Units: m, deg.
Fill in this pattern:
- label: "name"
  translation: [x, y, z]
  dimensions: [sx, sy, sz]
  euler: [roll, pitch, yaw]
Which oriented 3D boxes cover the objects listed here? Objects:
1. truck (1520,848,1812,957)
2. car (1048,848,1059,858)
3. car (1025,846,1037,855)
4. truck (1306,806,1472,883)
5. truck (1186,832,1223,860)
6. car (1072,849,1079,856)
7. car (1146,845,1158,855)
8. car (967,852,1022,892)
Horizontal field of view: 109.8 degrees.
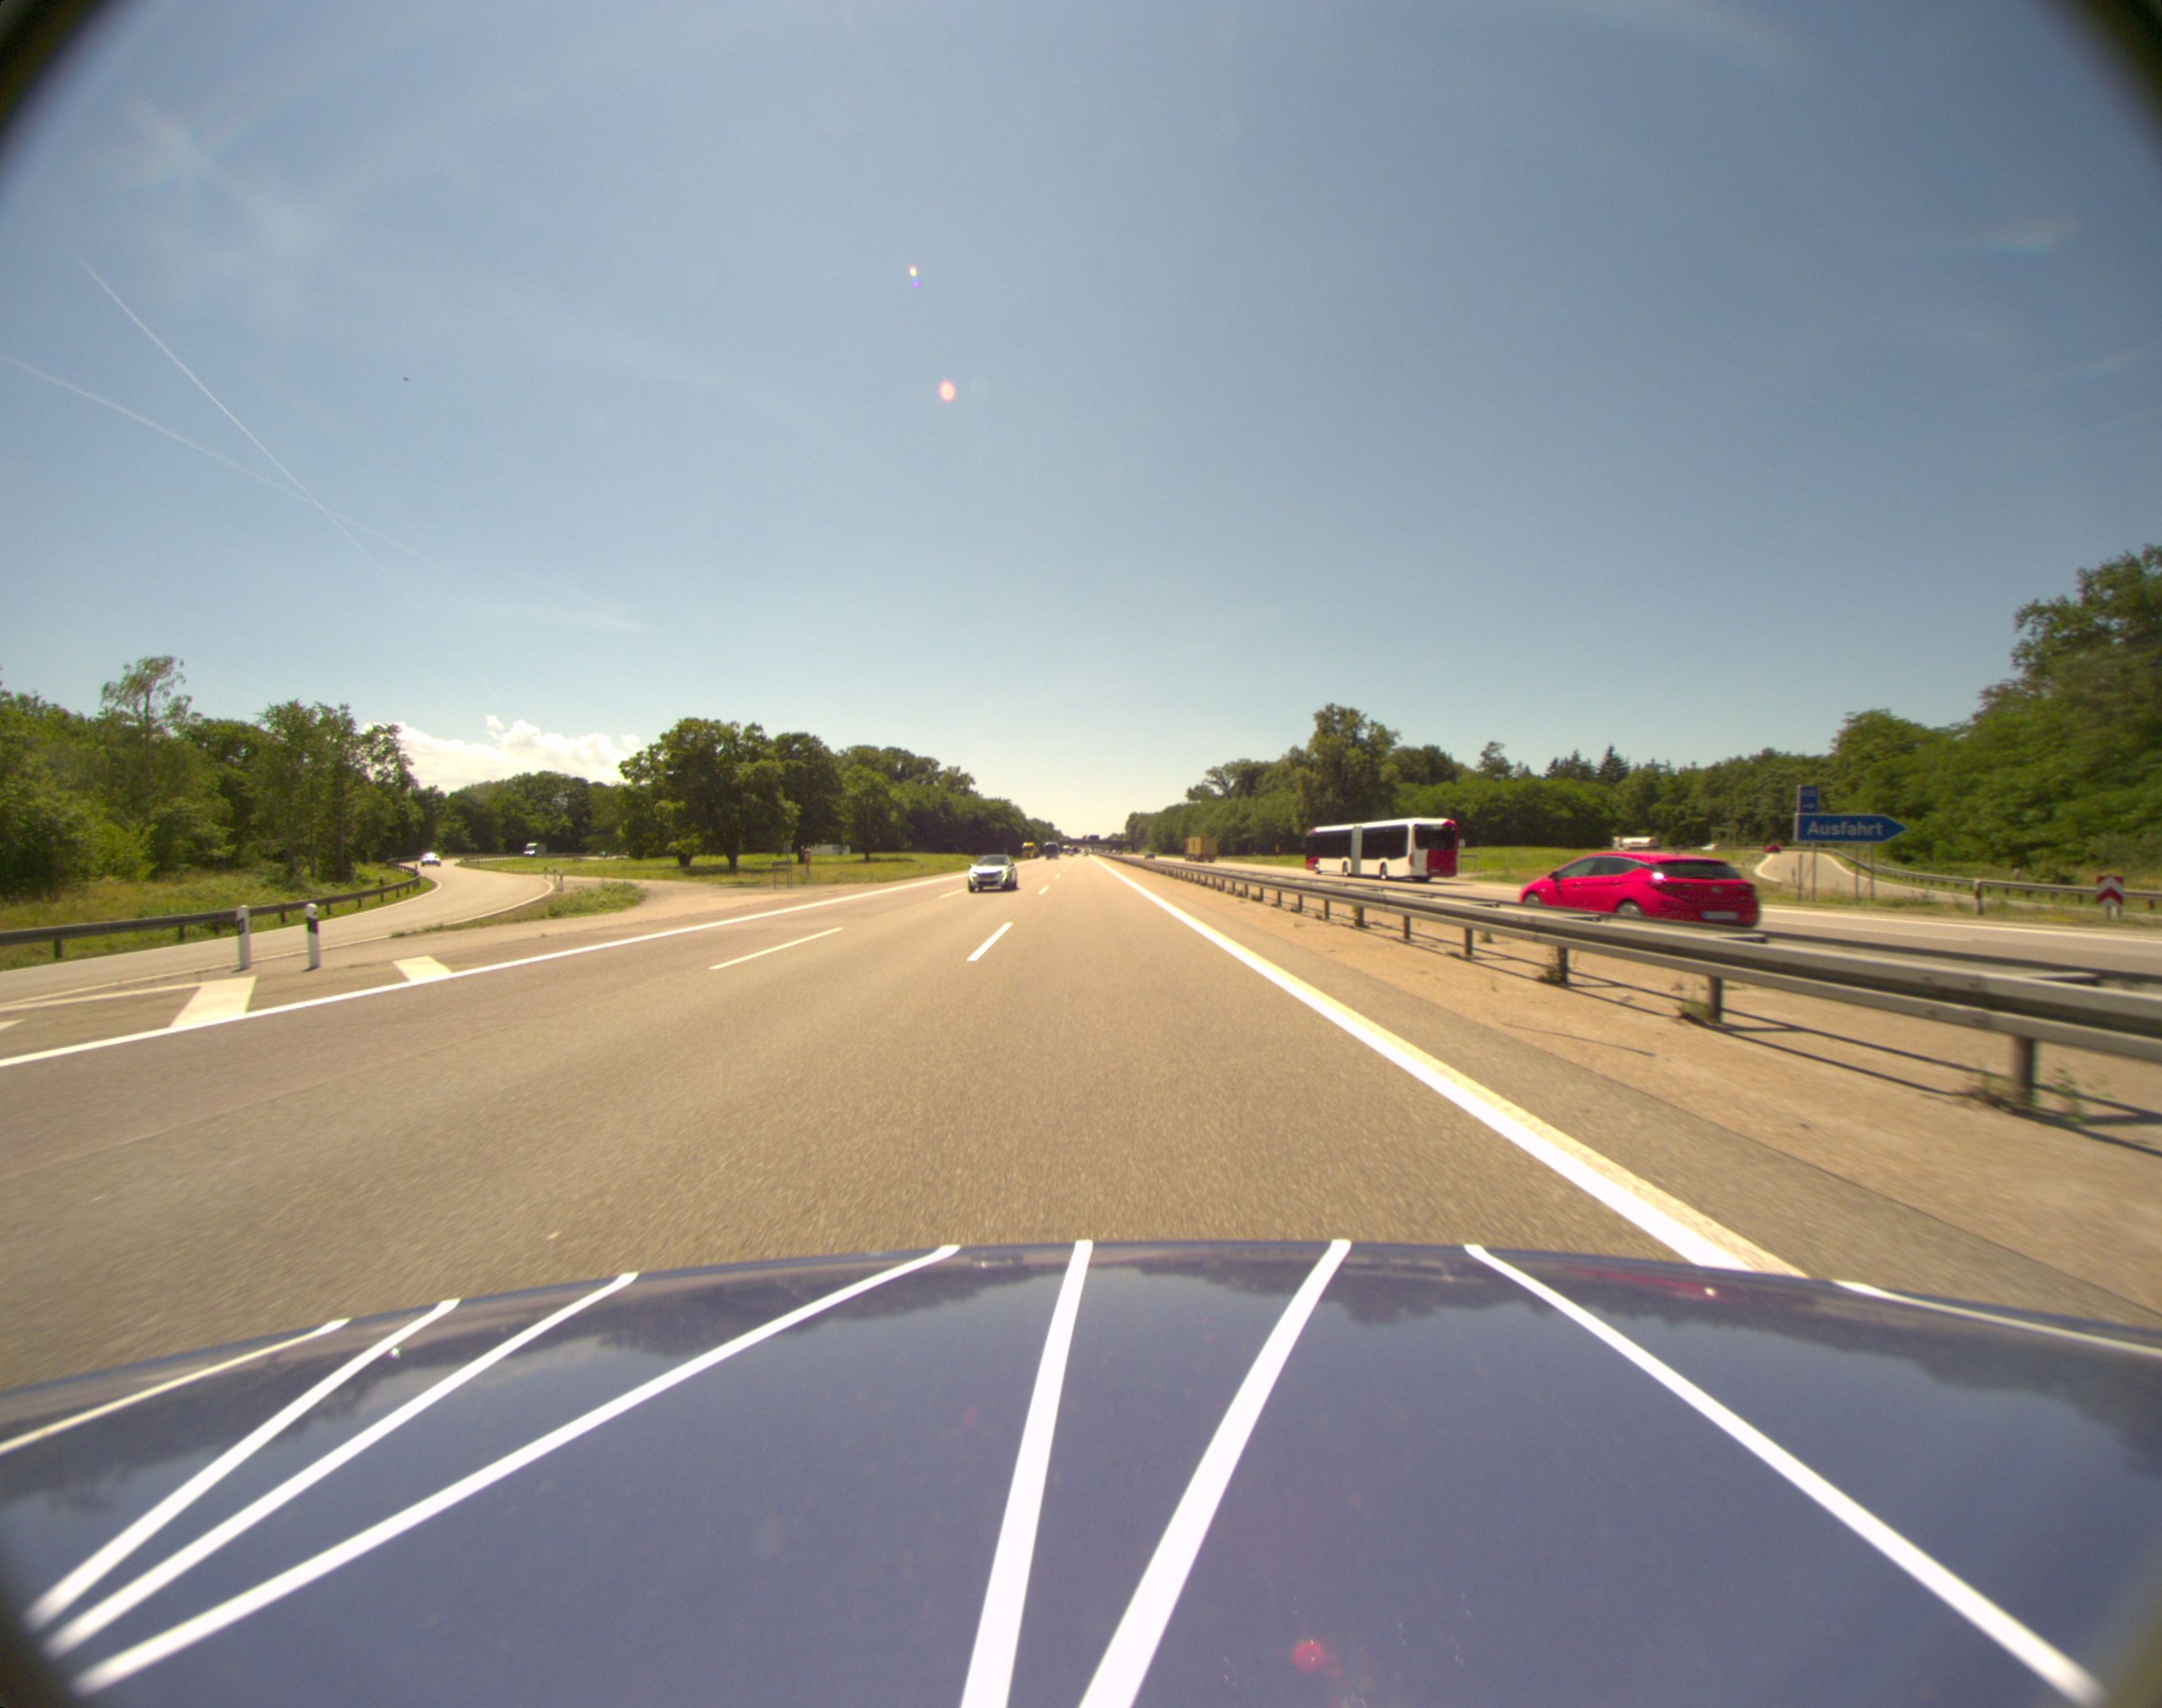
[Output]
- label: "truck"
  translation: [9.750, 0.696, 13.215]
  dimensions: [1.835, 1.554, 4.309]
  euler: [-1, 1, 1]
- label: "car"
  translation: [-5.856, -0.239, 163.460]
  dimensions: [2.300, 2.002, 4.794]
  euler: [-1, 1, -1]
- label: "car"
  translation: [-12.394, -0.893, 189.176]
  dimensions: [2.562, 2.002, 6.762]
  euler: [-1, 1, -1]
- label: "truck"
  translation: [18.200, -0.579, 47.254]
  dimensions: [3.091, 3.853, 17.544]
  euler: [-1, 1, 0]
- label: "truck"
  translation: [18.623, -1.284, 115.846]
  dimensions: [3.091, 3.853, 15.620]
  euler: [-2, 1, 1]
- label: "car"
  translation: [-1.619, -0.333, 225.247]
  dimensions: [1.840, 2.002, 4.000]
  euler: [-1, 1, 1]
- label: "car"
  translation: [14.388, -0.744, 153.600]
  dimensions: [1.998, 2.002, 4.000]
  euler: [-1, 1, 1]
- label: "car"
  translation: [-3.693, 0.747, 33.209]
  dimensions: [1.845, 1.565, 4.000]
  euler: [-2, 1, 1]
